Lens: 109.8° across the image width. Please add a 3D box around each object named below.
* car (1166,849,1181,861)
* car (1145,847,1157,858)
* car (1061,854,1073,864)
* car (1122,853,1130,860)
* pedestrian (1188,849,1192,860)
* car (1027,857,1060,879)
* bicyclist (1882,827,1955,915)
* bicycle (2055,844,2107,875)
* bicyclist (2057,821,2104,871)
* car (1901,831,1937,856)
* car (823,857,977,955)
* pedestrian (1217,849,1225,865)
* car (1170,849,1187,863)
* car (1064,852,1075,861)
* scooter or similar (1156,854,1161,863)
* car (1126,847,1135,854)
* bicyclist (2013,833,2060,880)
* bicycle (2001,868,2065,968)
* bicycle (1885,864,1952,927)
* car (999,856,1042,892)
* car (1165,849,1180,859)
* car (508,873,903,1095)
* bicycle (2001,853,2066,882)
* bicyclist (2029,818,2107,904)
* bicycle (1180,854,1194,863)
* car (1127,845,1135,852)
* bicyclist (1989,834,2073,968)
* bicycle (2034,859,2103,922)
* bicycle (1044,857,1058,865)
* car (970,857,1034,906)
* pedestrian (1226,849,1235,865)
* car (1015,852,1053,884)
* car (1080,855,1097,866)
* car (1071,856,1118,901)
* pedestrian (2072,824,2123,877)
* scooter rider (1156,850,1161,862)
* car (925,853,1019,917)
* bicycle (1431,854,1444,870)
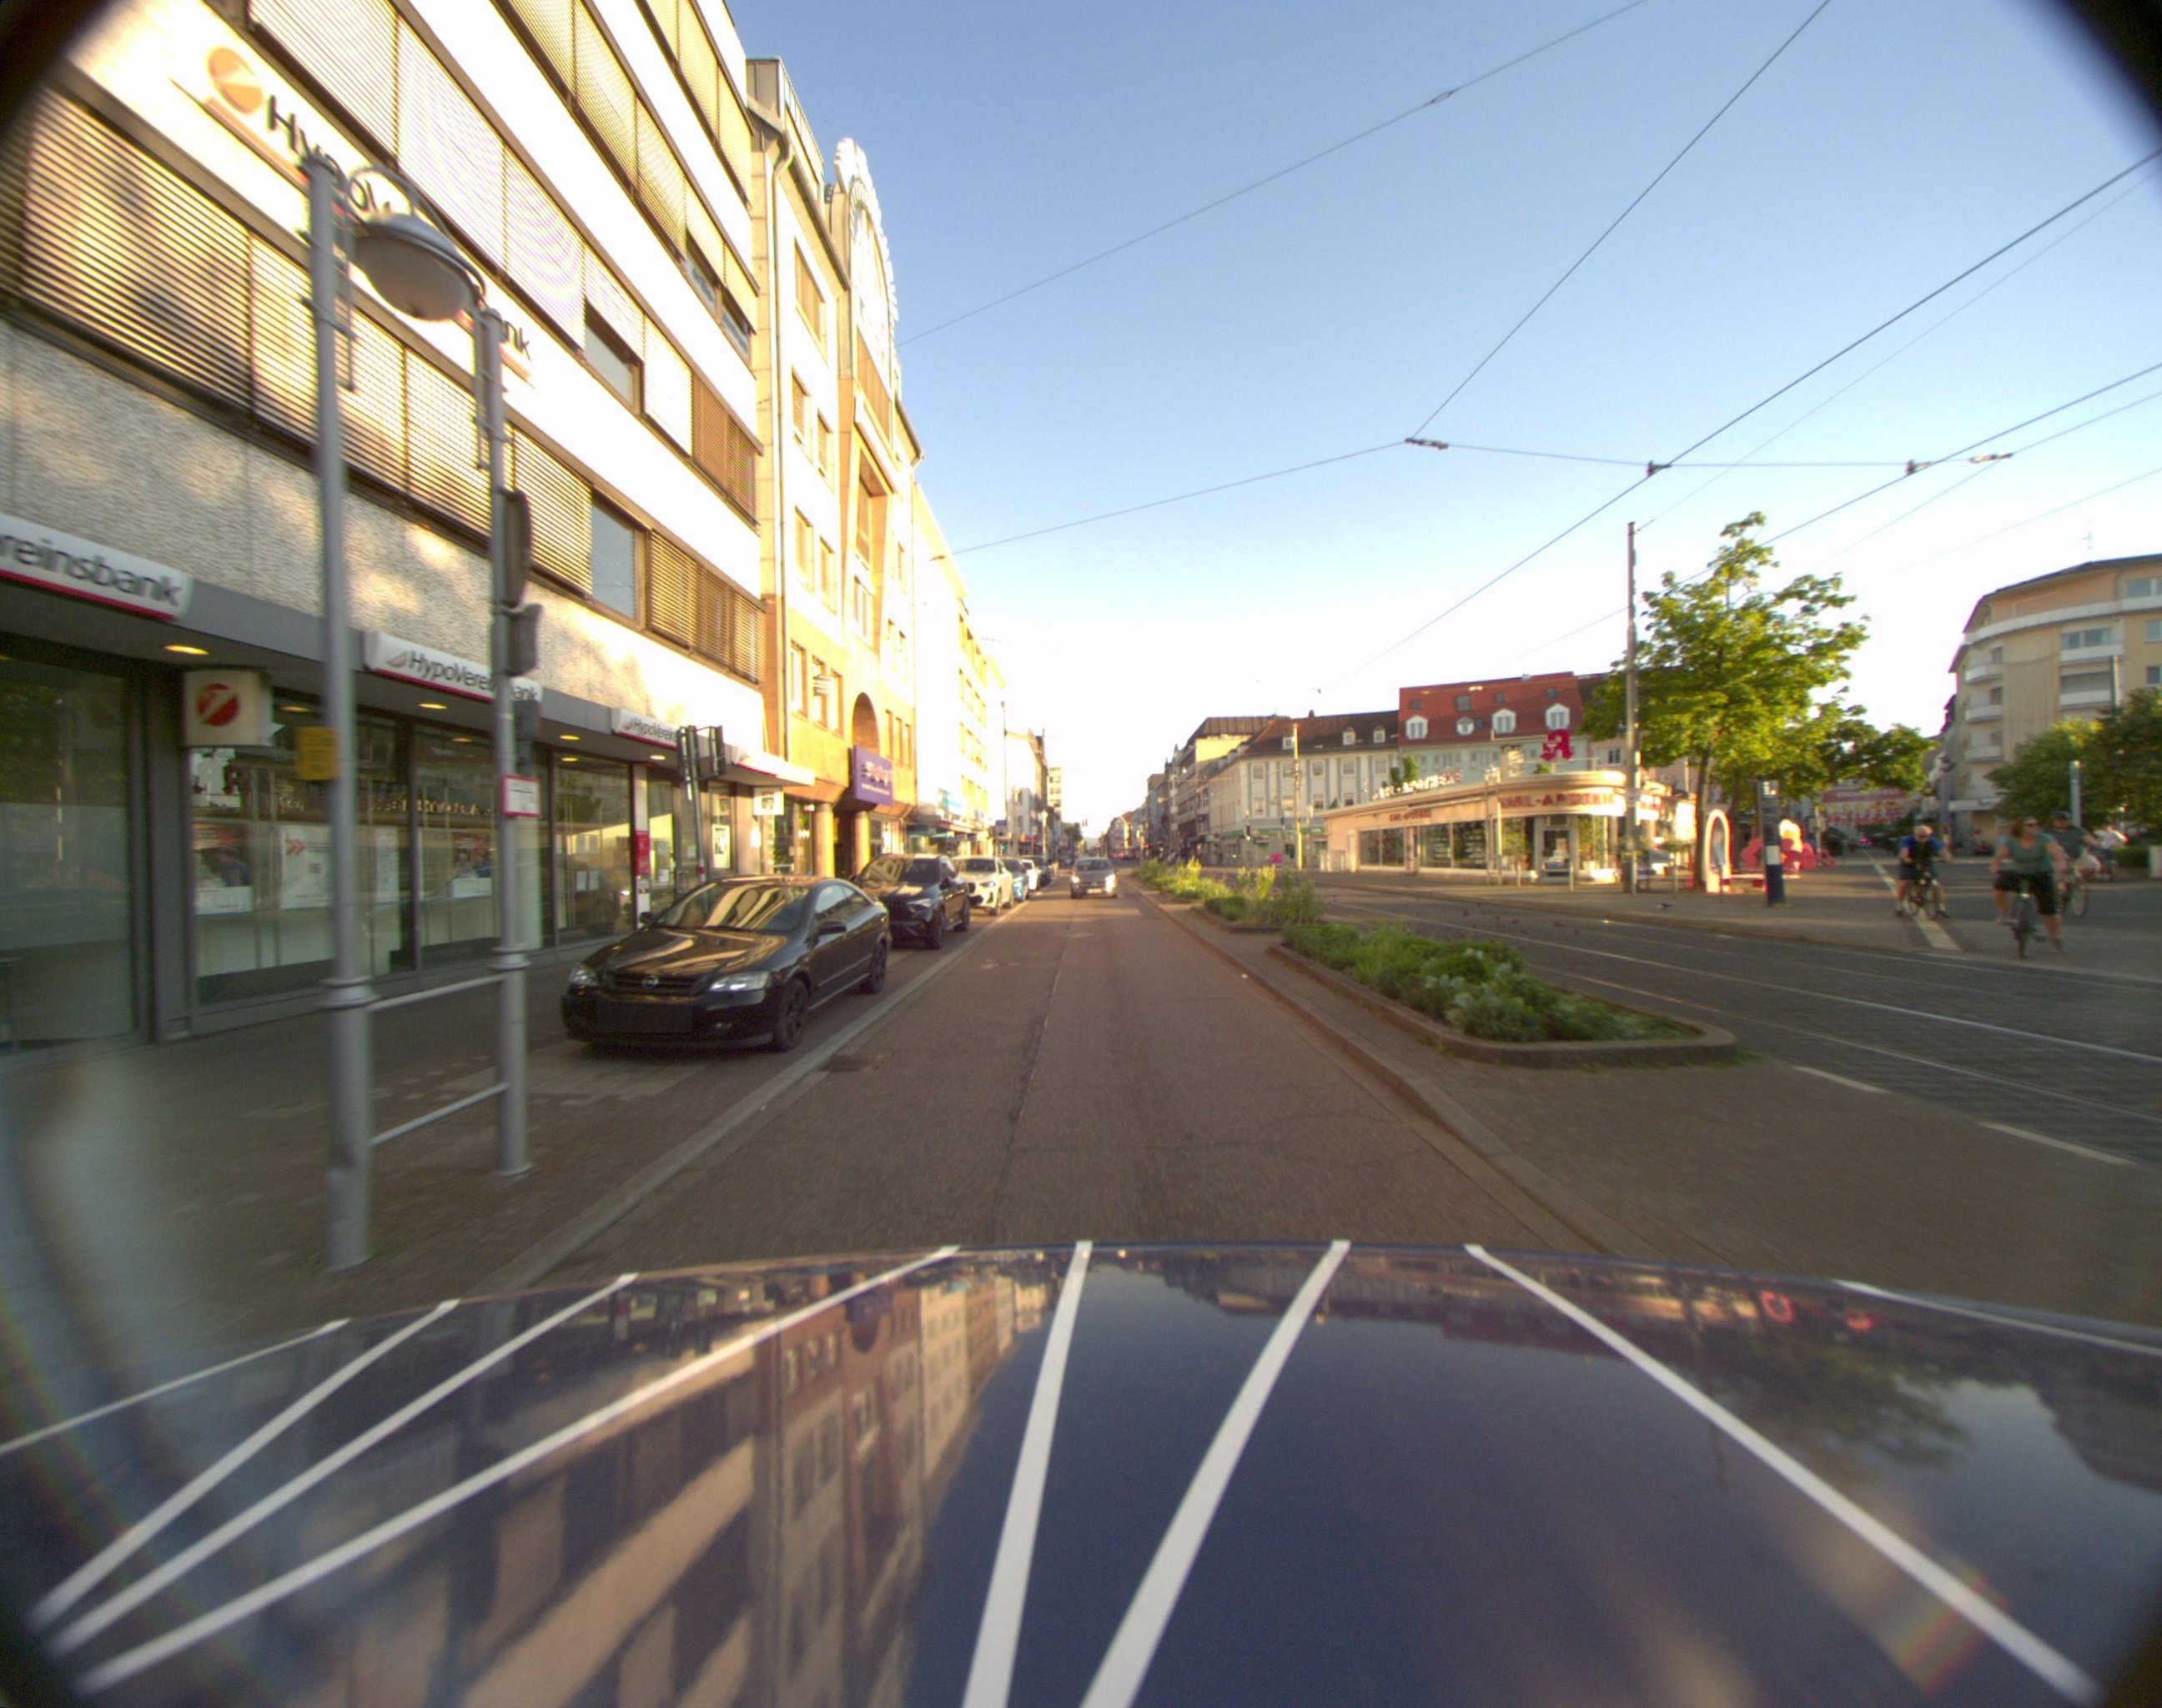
[{"bbox_3d":[13.713,0.143,113.042,1.701,1.614,4.000,-2,0,0],"label":"car"},{"bbox_3d":[13.550,-0.300,147.245,1.998,2.002,3.999,-1,2,1],"label":"car"},{"bbox_3d":[-2.379,0.867,129.453,2.041,1.550,4.386,-1,0,0],"label":"car"},{"bbox_3d":[11.090,0.564,187.679,1.895,1.471,4.545,1,-2,1],"label":"car"},{"bbox_3d":[16.644,0.108,116.513,0.515,1.724,0.601,-1,2,1],"label":"pedestrian"},{"bbox_3d":[-2.395,0.906,49.279,1.677,1.275,4.064,-1,1,3],"label":"car"},{"bbox_3d":[15.812,0.297,14.355,0.804,1.602,0.737,-2,3,-30],"label":"bicyclist"},{"bbox_3d":[31.045,0.159,23.604,0.424,0.910,1.430,0,2,30],"label":"bicycle"},{"bbox_3d":[31.029,-0.234,23.595,0.675,1.511,0.658,-1,1,28],"label":"bicyclist"},{"bbox_3d":[70.695,-0.886,64.088,4.007,2.002,1.994,-3,3,-41],"label":"car"},{"bbox_3d":[-3.195,0.880,14.388,1.780,1.529,4.579,-1,-1,0],"label":"car"},{"bbox_3d":[15.235,0.279,82.605,0.826,1.718,0.814,-2,1,11],"label":"pedestrian"},{"bbox_3d":[13.688,0.239,106.878,1.915,1.785,4.128,-2,1,0],"label":"car"},{"bbox_3d":[-2.138,0.475,141.236,2.041,1.550,4.386,-1,0,0],"label":"car"},{"bbox_3d":[12.423,0.684,122.108,0.545,1.343,1.669,-1,0,1],"label":"scooter or similar"},{"bbox_3d":[14.506,-1.070,222.804,1.974,2.002,3.998,-1,2,-2],"label":"car"},{"bbox_3d":[31.051,0.079,24.701,0.657,1.511,0.677,-1,1,-1],"label":"bicyclist"},{"bbox_3d":[12.374,0.786,9.906,1.940,1.106,0.459,-2,3,-40],"label":"bicycle"},{"bbox_3d":[15.940,0.768,14.447,1.931,1.105,0.459,0,1,-31],"label":"bicycle"},{"bbox_3d":[-2.756,0.901,35.436,1.735,1.427,4.151,-1,2,-1],"label":"car"},{"bbox_3d":[14.626,-0.012,121.577,1.819,1.548,3.999,-1,2,1],"label":"car"},{"bbox_3d":[-3.153,0.968,7.519,1.659,1.372,4.341,2,0,1],"label":"car"},{"bbox_3d":[30.925,0.431,24.679,1.529,0.910,0.425,-1,2,0],"label":"bicycle"},{"bbox_3d":[18.577,0.115,14.323,0.752,1.568,0.704,1,3,42],"label":"bicyclist"},{"bbox_3d":[13.197,0.579,94.446,1.740,1.052,0.499,-1,-1,9],"label":"bicycle"},{"bbox_3d":[15.116,-1.661,228.903,1.975,2.181,4.132,-1,2,0],"label":"car"},{"bbox_3d":[12.386,0.579,9.932,0.706,1.659,0.626,-3,3,-40],"label":"bicyclist"},{"bbox_3d":[18.528,0.653,14.289,0.494,1.105,1.715,1,1,43],"label":"bicycle"},{"bbox_3d":[-4.099,0.897,103.277,1.828,1.025,0.443,-1,1,-5],"label":"bicycle"},{"bbox_3d":[-2.778,0.922,27.761,1.814,1.543,4.836,-1,0,0],"label":"car"},{"bbox_3d":[16.047,0.362,81.680,0.826,1.632,0.814,-2,4,17],"label":"pedestrian"},{"bbox_3d":[-2.530,0.719,41.555,1.769,1.595,4.287,-1,0,0],"label":"car"},{"bbox_3d":[0.947,0.828,95.056,1.914,1.350,3.747,-2,0,4],"label":"car"},{"bbox_3d":[0.471,0.828,27.540,1.587,1.445,3.842,-1,1,0],"label":"car"},{"bbox_3d":[32.466,-0.108,24.267,0.676,1.667,0.658,0,3,16],"label":"pedestrian"},{"bbox_3d":[12.419,0.342,122.038,0.813,1.797,0.788,-1,1,1],"label":"scooter rider"},{"bbox_3d":[-2.948,0.784,21.611,1.821,1.576,4.723,-1,0,2],"label":"car"},{"bbox_3d":[24.640,0.550,52.547,0.558,1.038,2.031,1,1,33],"label":"bicycle"}]
